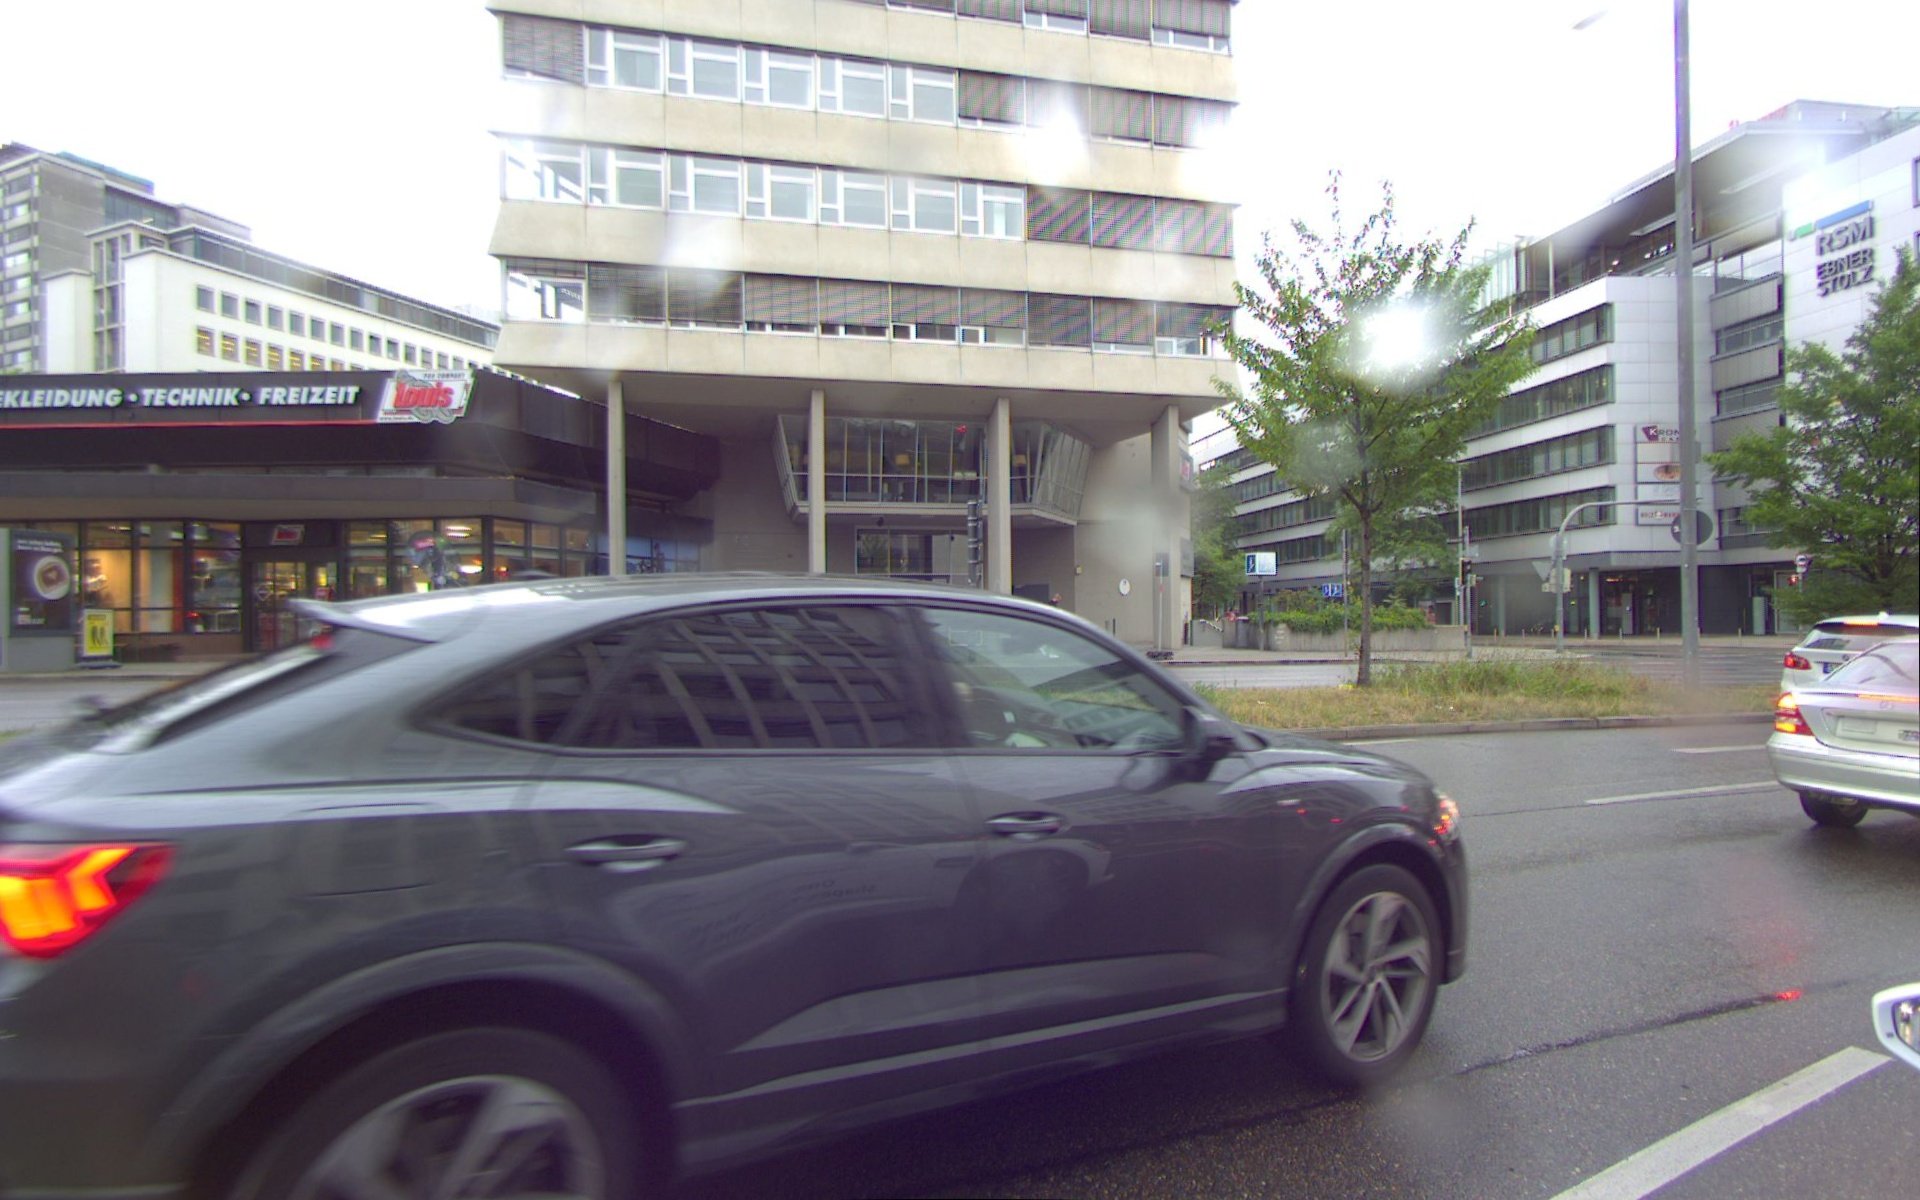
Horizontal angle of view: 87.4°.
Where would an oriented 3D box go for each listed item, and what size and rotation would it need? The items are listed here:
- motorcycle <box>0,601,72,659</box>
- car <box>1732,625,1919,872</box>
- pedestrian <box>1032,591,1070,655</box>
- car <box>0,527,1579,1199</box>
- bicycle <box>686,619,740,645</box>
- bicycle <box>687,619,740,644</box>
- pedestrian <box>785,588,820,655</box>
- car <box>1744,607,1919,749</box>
[{"bbox_3d":[-23.569,0.735,24.695,0.788,1.392,2.893,1,0,3],"label":"motorcycle"},{"bbox_3d":[7.713,0.946,7.201,4.137,1.505,1.678,1,-1,-23],"label":"car"},{"bbox_3d":[2.661,0.674,29.443,0.909,1.857,0.727,1,-1,-14],"label":"pedestrian"},{"bbox_3d":[-0.156,0.670,3.087,4.242,1.454,1.925,1,-1,-34],"label":"car"},{"bbox_3d":[-8.304,1.082,33.779,1.743,0.823,0.454,1,0,-12],"label":"bicycle"},{"bbox_3d":[-8.418,1.083,34.359,1.743,0.823,0.454,1,0,-12],"label":"bicycle"},{"bbox_3d":[-4.414,0.607,28.172,0.909,1.857,0.817,1,0,-14],"label":"pedestrian"},{"bbox_3d":[12.491,0.920,12.964,3.937,1.617,1.883,1,0,-18],"label":"car"}]
